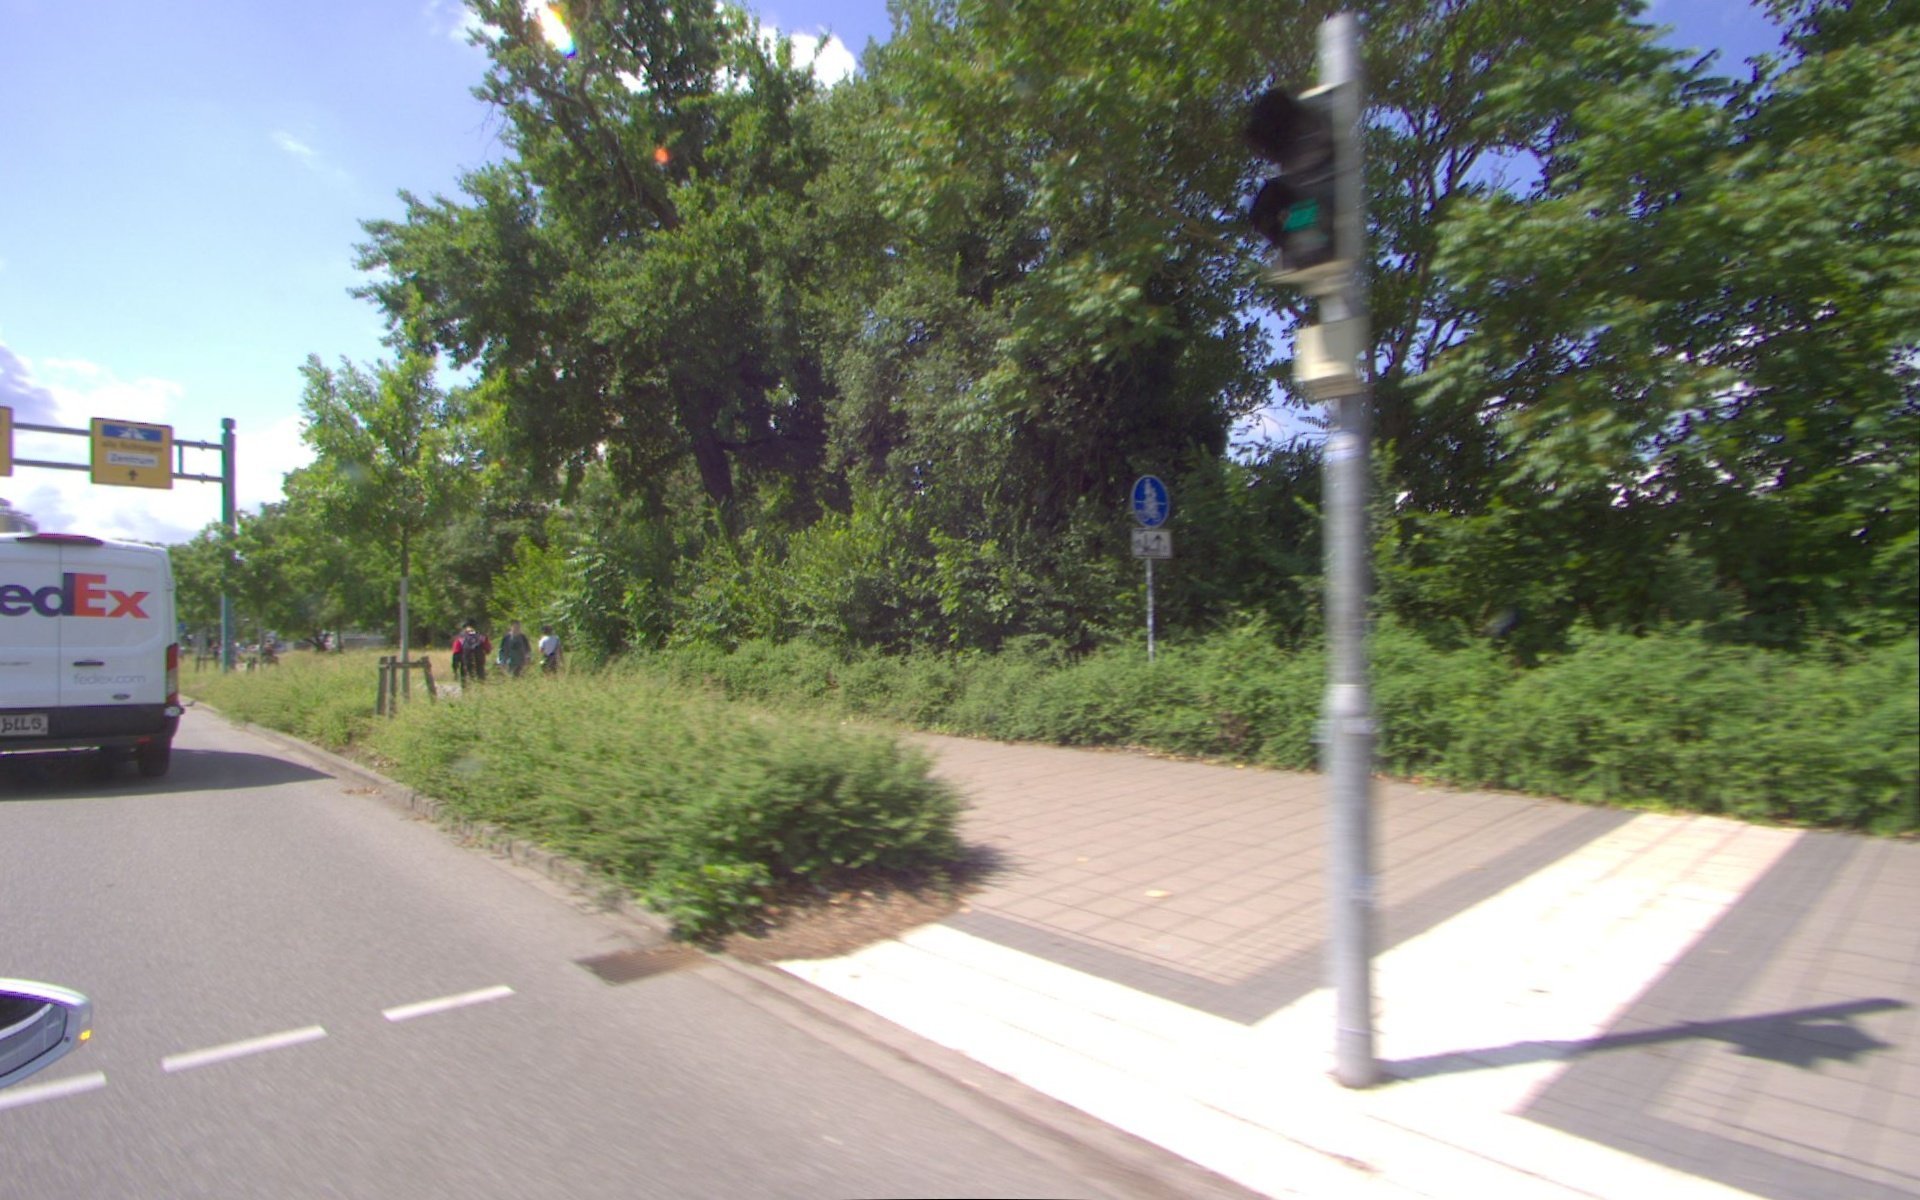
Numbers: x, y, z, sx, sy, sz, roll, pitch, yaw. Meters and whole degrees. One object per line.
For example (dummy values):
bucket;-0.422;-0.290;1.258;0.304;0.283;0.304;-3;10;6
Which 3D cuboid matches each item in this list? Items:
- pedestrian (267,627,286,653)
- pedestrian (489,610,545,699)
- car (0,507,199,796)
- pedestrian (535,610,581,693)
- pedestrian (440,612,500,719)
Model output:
pedestrian;-40.400;2.362;59.185;0.839;1.558;0.827;1;-1;-43
pedestrian;-9.000;1.095;20.330;0.808;1.743;0.921;1;-2;-41
car;-10.572;0.547;11.634;2.127;2.686;5.649;1;-2;-44
pedestrian;-8.711;1.103;21.681;0.717;1.743;0.740;1;-2;-42
pedestrian;-8.220;1.085;16.805;0.711;1.743;0.830;1;-2;-41
